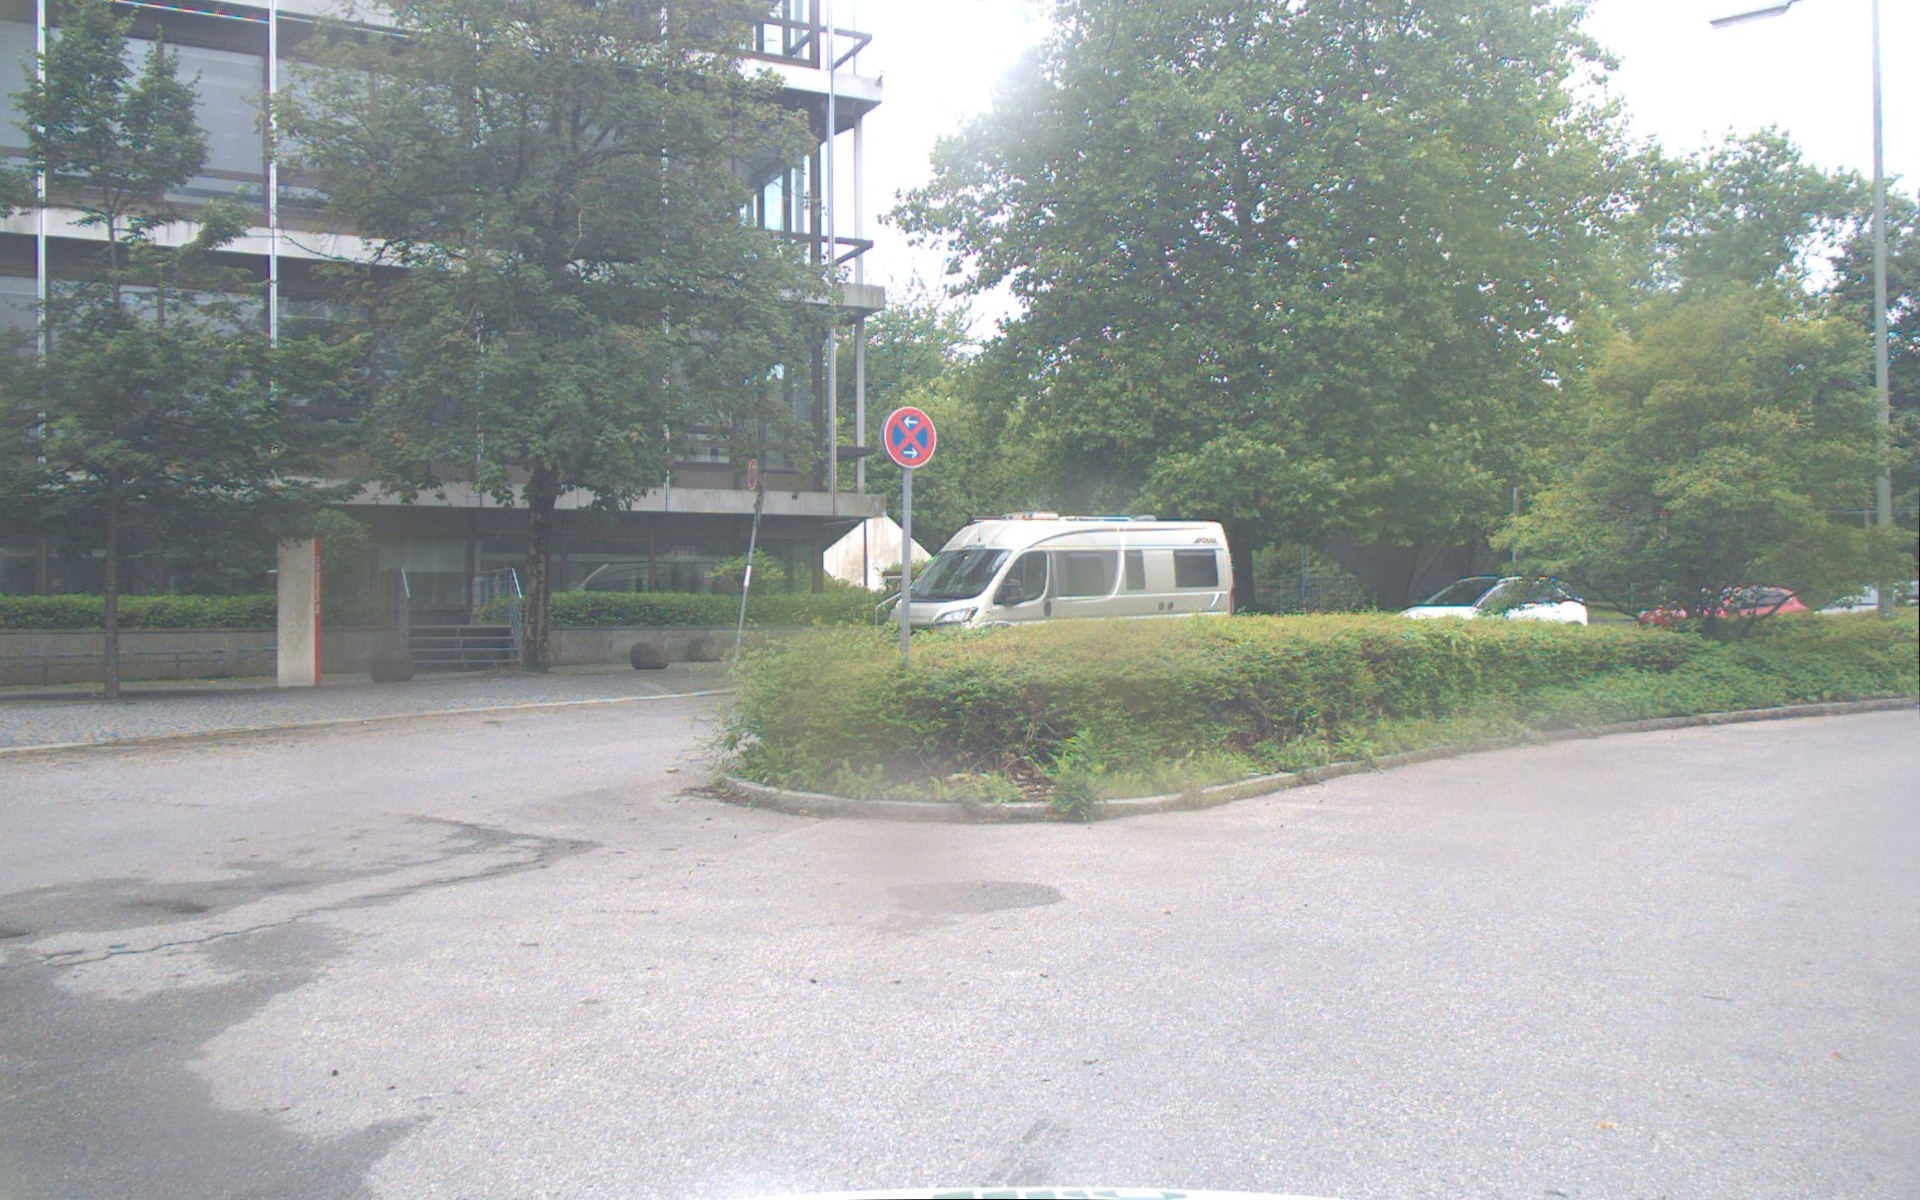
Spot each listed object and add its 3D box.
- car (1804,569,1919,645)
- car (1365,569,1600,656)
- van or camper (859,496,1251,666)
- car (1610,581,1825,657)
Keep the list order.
[{"bbox_3d":[20.758,0.130,36.359,3.938,1.602,1.983,-1,0,-26],"label":"car"},{"bbox_3d":[9.796,0.206,31.012,3.938,1.534,1.983,-1,0,-26],"label":"car"},{"bbox_3d":[1.616,-0.277,25.558,6.362,2.321,2.221,0,0,-42],"label":"van or camper"},{"bbox_3d":[15.450,0.358,33.735,3.938,1.434,1.983,-1,0,-26],"label":"car"}]
